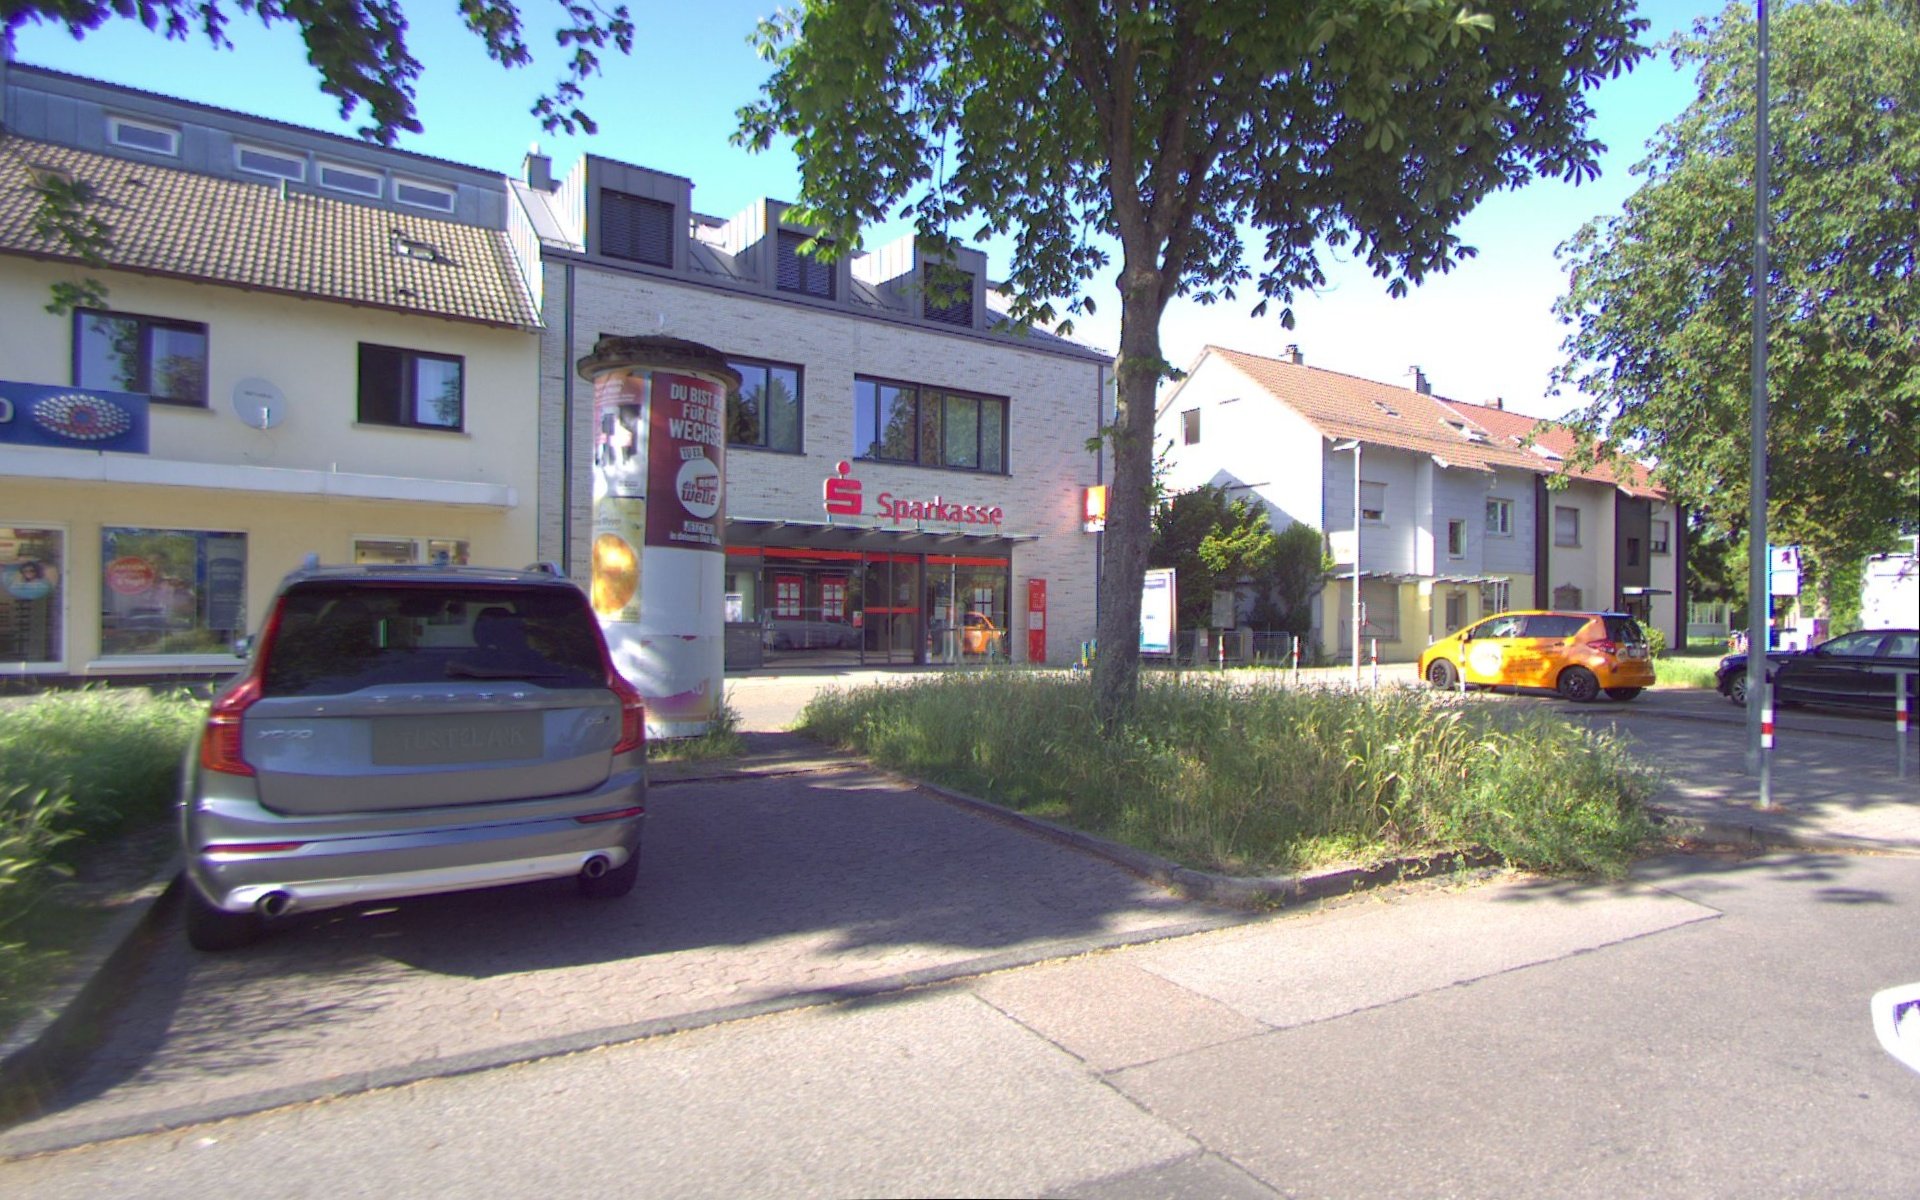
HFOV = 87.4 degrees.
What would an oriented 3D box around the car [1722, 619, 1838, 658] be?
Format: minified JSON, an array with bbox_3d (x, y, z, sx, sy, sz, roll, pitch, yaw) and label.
[{"bbox_3d":[39.484,1.844,48.462,1.800,1.737,3.969,1,-1,-29],"label":"car"}]

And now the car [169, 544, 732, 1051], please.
[{"bbox_3d":[-3.234,0.598,6.143,1.978,1.751,5.031,2,2,-32],"label":"car"}]

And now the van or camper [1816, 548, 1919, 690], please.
[{"bbox_3d":[20.693,0.473,19.528,1.974,2.843,5.754,2,2,-27],"label":"van or camper"}]

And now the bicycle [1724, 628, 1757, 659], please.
[{"bbox_3d":[32.653,1.801,42.009,0.696,1.192,4.032,0,-1,44],"label":"bicycle"}]

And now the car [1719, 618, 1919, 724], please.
[{"bbox_3d":[14.866,1.140,16.117,1.618,1.469,3.974,2,1,-25],"label":"car"}]

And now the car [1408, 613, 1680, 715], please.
[{"bbox_3d":[10.702,1.097,18.673,1.851,1.563,3.962,2,0,-34],"label":"car"}]
